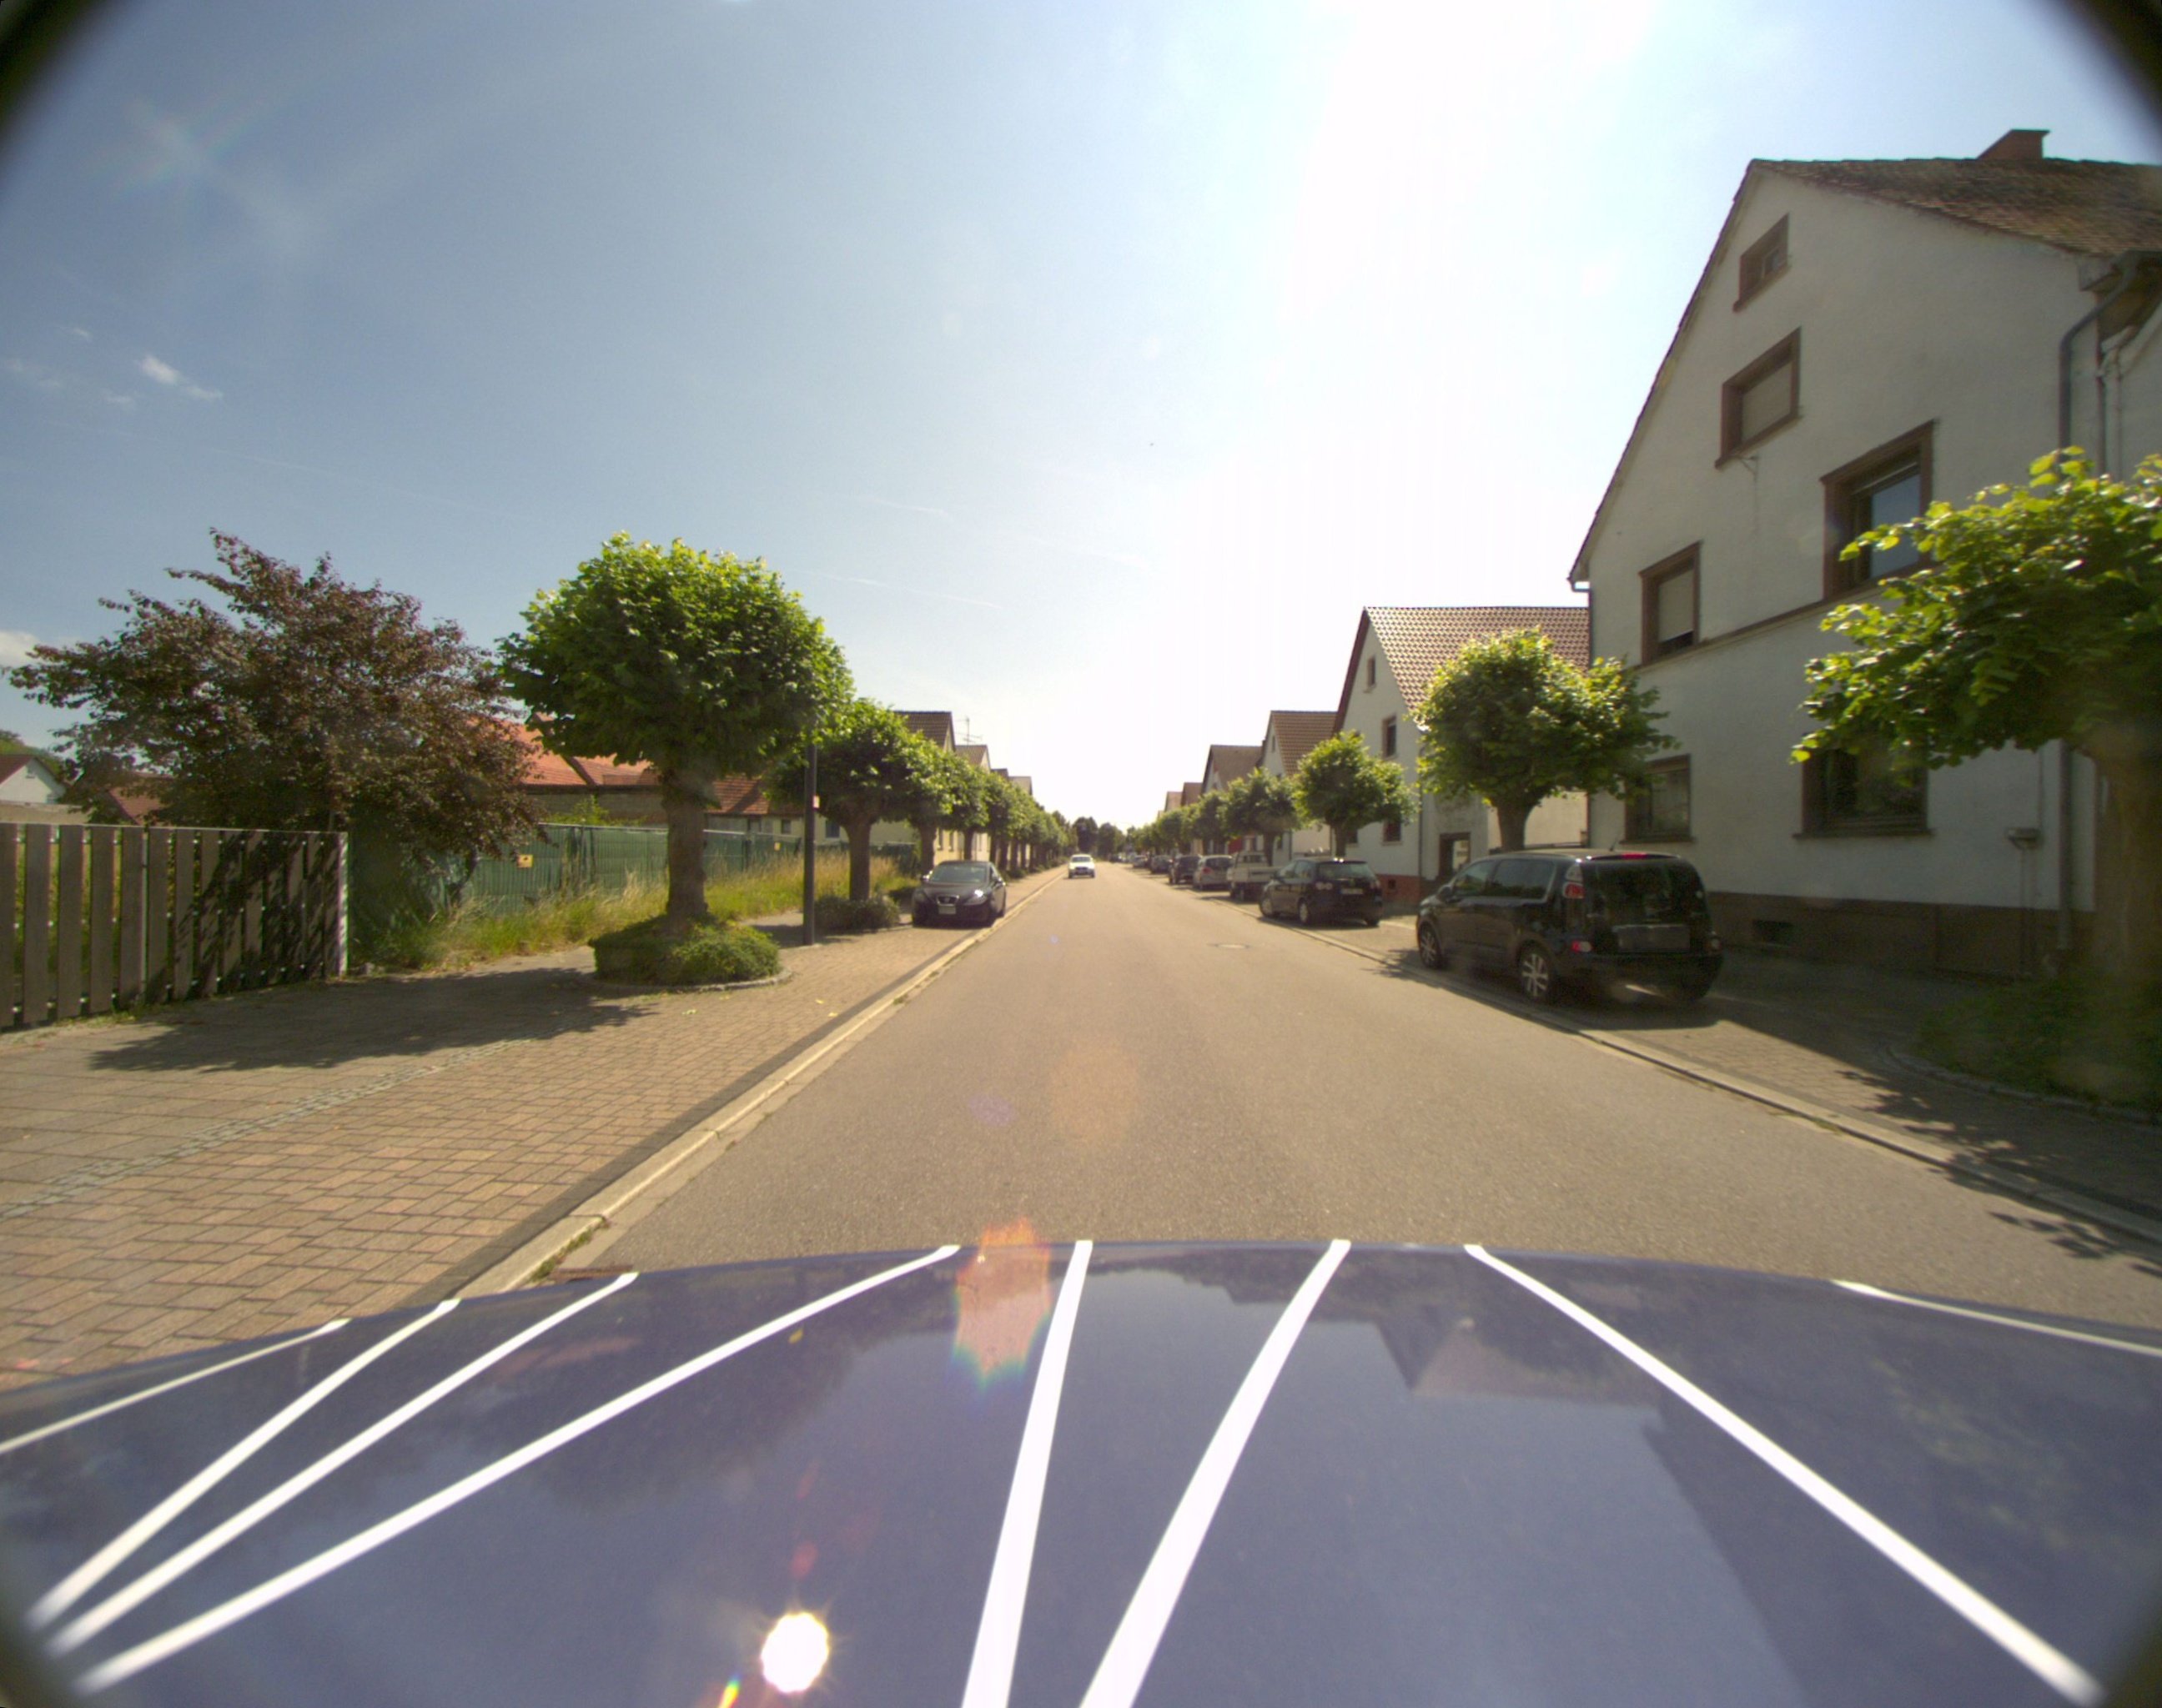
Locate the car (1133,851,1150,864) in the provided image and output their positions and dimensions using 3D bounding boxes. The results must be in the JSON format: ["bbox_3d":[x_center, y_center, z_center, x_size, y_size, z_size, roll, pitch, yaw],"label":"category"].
[{"bbox_3d":[7.303,0.457,91.854,1.829,1.474,4.132,-2,1,1],"label":"car"}]

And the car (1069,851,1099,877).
[{"bbox_3d":[0.228,0.662,52.779,1.857,1.603,4.135,-2,0,3],"label":"car"}]

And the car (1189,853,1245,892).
[{"bbox_3d":[6.291,0.801,35.646,1.857,1.604,4.370,-2,1,1],"label":"car"}]

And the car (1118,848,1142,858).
[{"bbox_3d":[9.303,-0.119,143.935,4.251,1.709,1.944,-2,1,-5],"label":"car"}]

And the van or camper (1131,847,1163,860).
[{"bbox_3d":[10.365,-0.040,119.676,4.752,1.851,2.000,-2,0,0],"label":"van or camper"}]

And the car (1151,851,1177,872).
[{"bbox_3d":[6.914,0.619,63.601,1.857,1.603,4.135,-2,0,3],"label":"car"}]

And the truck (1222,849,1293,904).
[{"bbox_3d":[6.228,0.743,27.297,1.580,1.755,4.192,-2,0,1],"label":"truck"}]

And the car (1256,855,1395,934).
[{"bbox_3d":[5.717,0.863,18.305,1.791,1.624,3.998,-1,0,-5],"label":"car"}]

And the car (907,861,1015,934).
[{"bbox_3d":[-2.708,0.935,18.021,1.829,1.424,4.057,2,0,1],"label":"car"}]

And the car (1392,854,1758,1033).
[{"bbox_3d":[5.548,0.859,9.284,1.857,1.626,4.056,-2,1,1],"label":"car"}]

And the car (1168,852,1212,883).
[{"bbox_3d":[6.085,0.734,42.980,1.857,1.626,4.299,-2,0,1],"label":"car"}]
